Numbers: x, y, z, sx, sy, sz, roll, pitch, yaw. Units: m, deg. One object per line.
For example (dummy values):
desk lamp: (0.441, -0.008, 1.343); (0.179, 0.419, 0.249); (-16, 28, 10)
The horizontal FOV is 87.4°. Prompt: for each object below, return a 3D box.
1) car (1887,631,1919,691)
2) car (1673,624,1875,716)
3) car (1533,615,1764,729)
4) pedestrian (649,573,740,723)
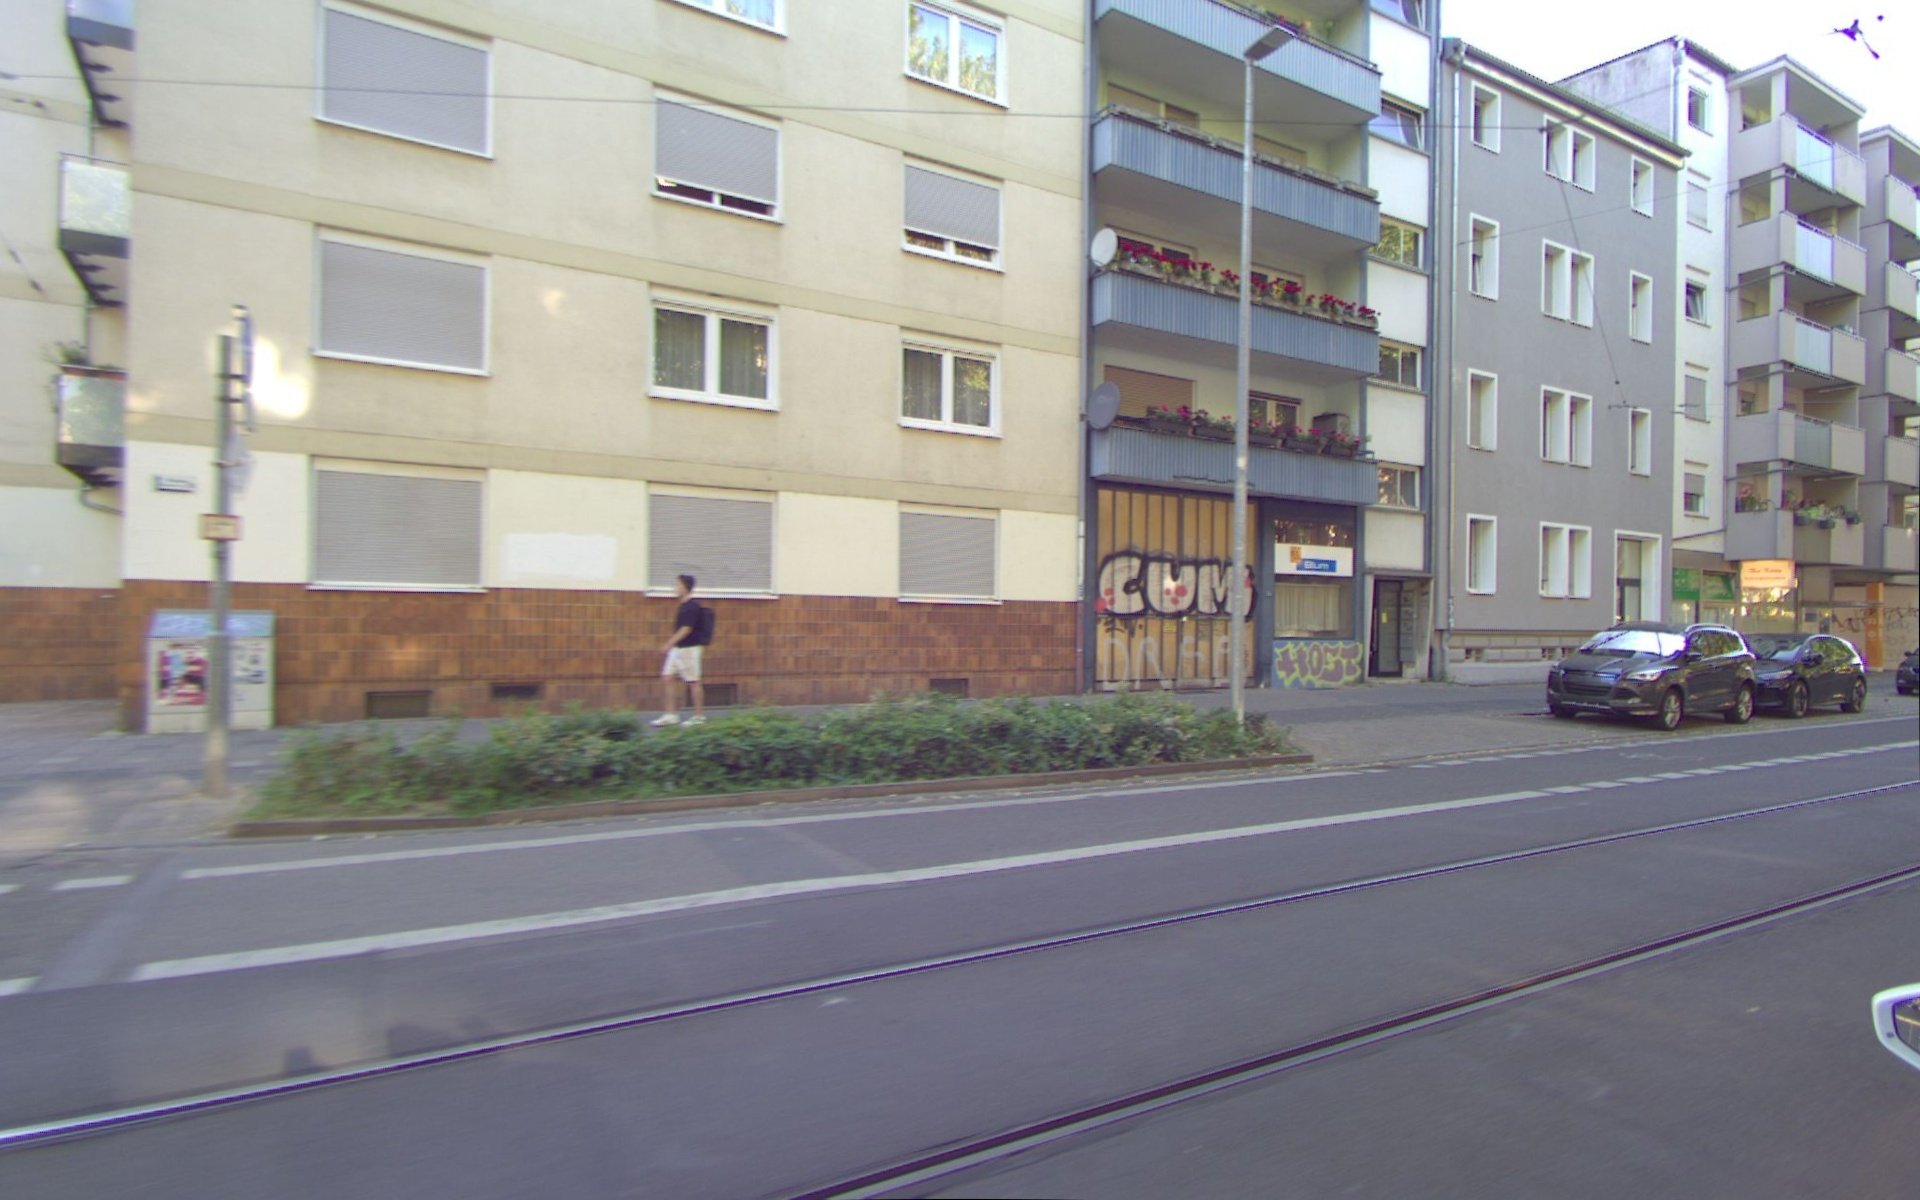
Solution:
car: (25.195, 1.524, 25.389); (3.794, 1.456, 1.645); (1, -1, -32)
car: (16.144, 1.315, 19.880); (4.192, 1.565, 1.694); (1, 1, -30)
car: (11.896, 1.164, 17.295); (4.194, 1.672, 1.693); (1, 1, -32)
pedestrian: (-3.411, 0.599, 12.903); (0.954, 1.850, 0.660); (1, -1, -31)
